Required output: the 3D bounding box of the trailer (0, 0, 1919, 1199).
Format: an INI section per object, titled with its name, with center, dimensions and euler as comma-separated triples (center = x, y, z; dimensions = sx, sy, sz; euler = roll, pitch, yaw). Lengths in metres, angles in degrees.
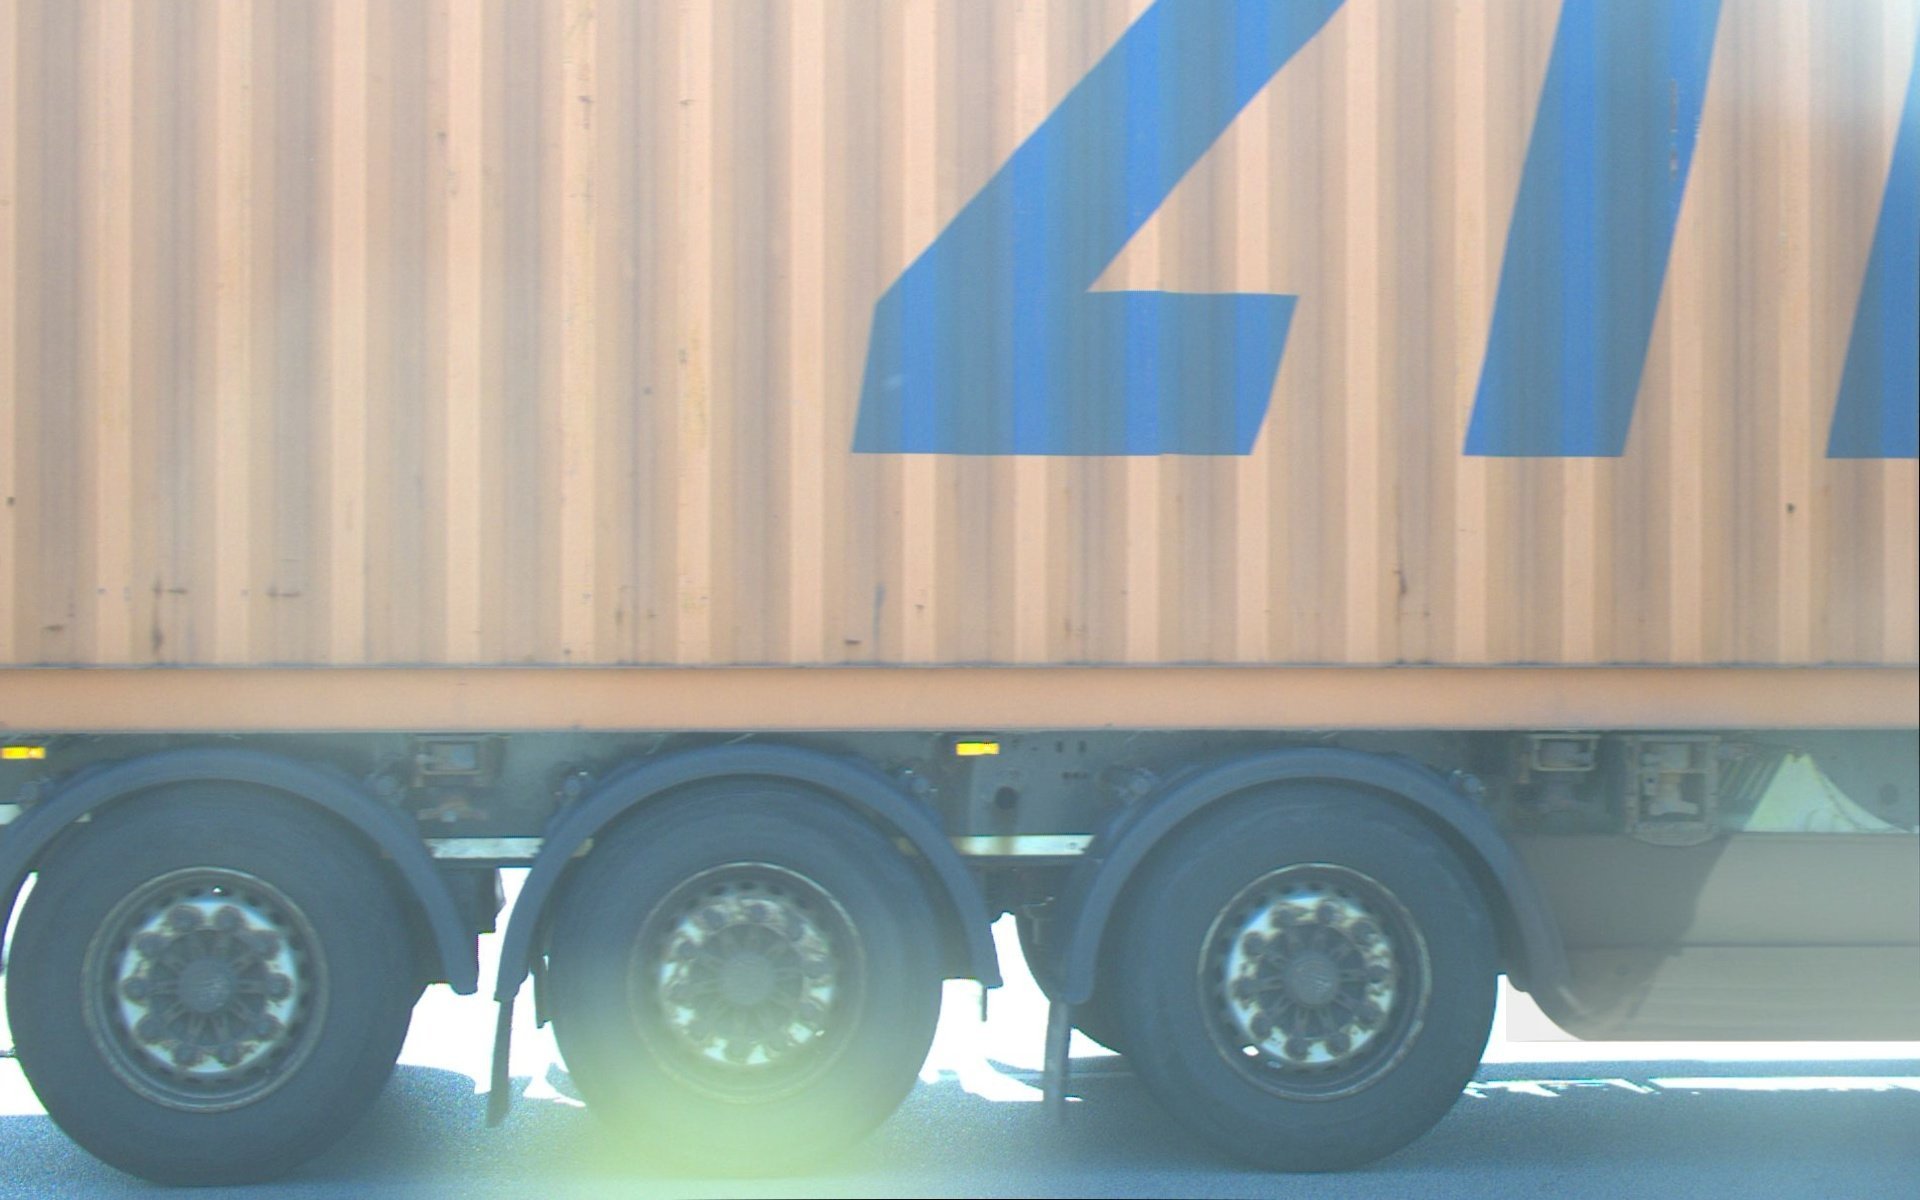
[trailer]
center = 1.492, -0.612, 9.769
dimensions = 12.318, 4.140, 2.561
euler = 0, 0, -6
